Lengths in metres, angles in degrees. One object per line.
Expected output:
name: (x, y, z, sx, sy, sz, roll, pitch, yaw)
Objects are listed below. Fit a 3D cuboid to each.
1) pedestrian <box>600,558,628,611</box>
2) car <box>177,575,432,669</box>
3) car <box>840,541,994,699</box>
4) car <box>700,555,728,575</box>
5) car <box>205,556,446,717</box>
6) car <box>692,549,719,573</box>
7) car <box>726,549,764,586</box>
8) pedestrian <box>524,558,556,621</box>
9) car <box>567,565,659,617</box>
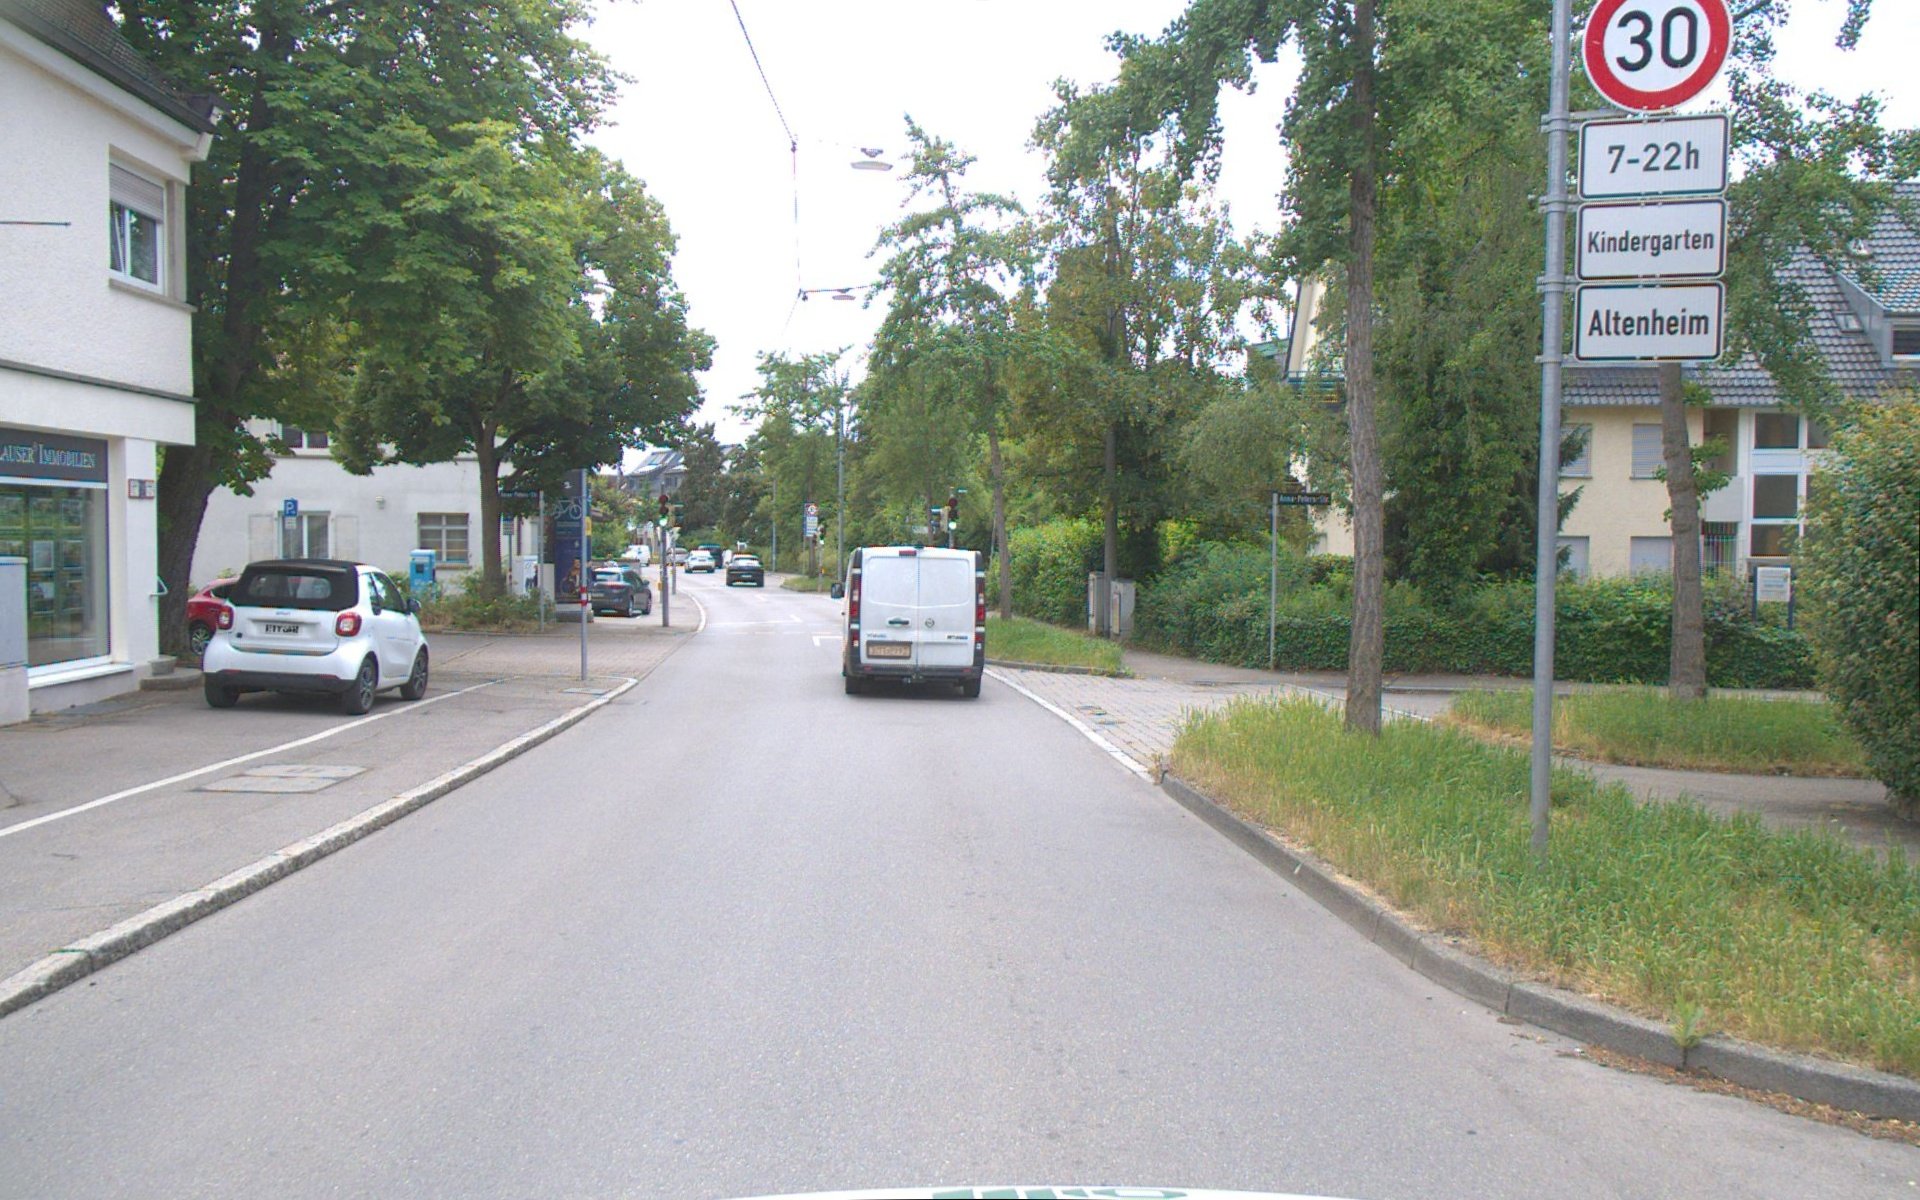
pedestrian: (-12.019, -0.556, 57.416, 0.867, 1.781, 0.960, 2, 1, -13)
car: (-11.693, 0.350, 29.525, 4.134, 1.457, 1.816, 1, 4, 23)
car: (-0.709, 0.208, 23.392, 1.892, 1.998, 4.398, 1, 1, -5)
car: (-20.542, -2.921, 138.075, 1.862, 1.639, 4.483, 1, 1, -15)
car: (-6.917, 0.345, 18.311, 1.557, 1.565, 2.923, 3, 1, -2)
car: (-18.670, -2.855, 121.374, 1.792, 1.758, 3.990, 1, 1, -11)
car: (-11.366, -1.709, 87.311, 1.862, 1.892, 4.396, 1, 1, -9)
pedestrian: (-11.145, -0.278, 43.880, 0.684, 1.644, 0.715, 1, 2, -2)
car: (-10.586, -0.283, 50.737, 1.743, 1.466, 4.526, 2, 0, 1)
